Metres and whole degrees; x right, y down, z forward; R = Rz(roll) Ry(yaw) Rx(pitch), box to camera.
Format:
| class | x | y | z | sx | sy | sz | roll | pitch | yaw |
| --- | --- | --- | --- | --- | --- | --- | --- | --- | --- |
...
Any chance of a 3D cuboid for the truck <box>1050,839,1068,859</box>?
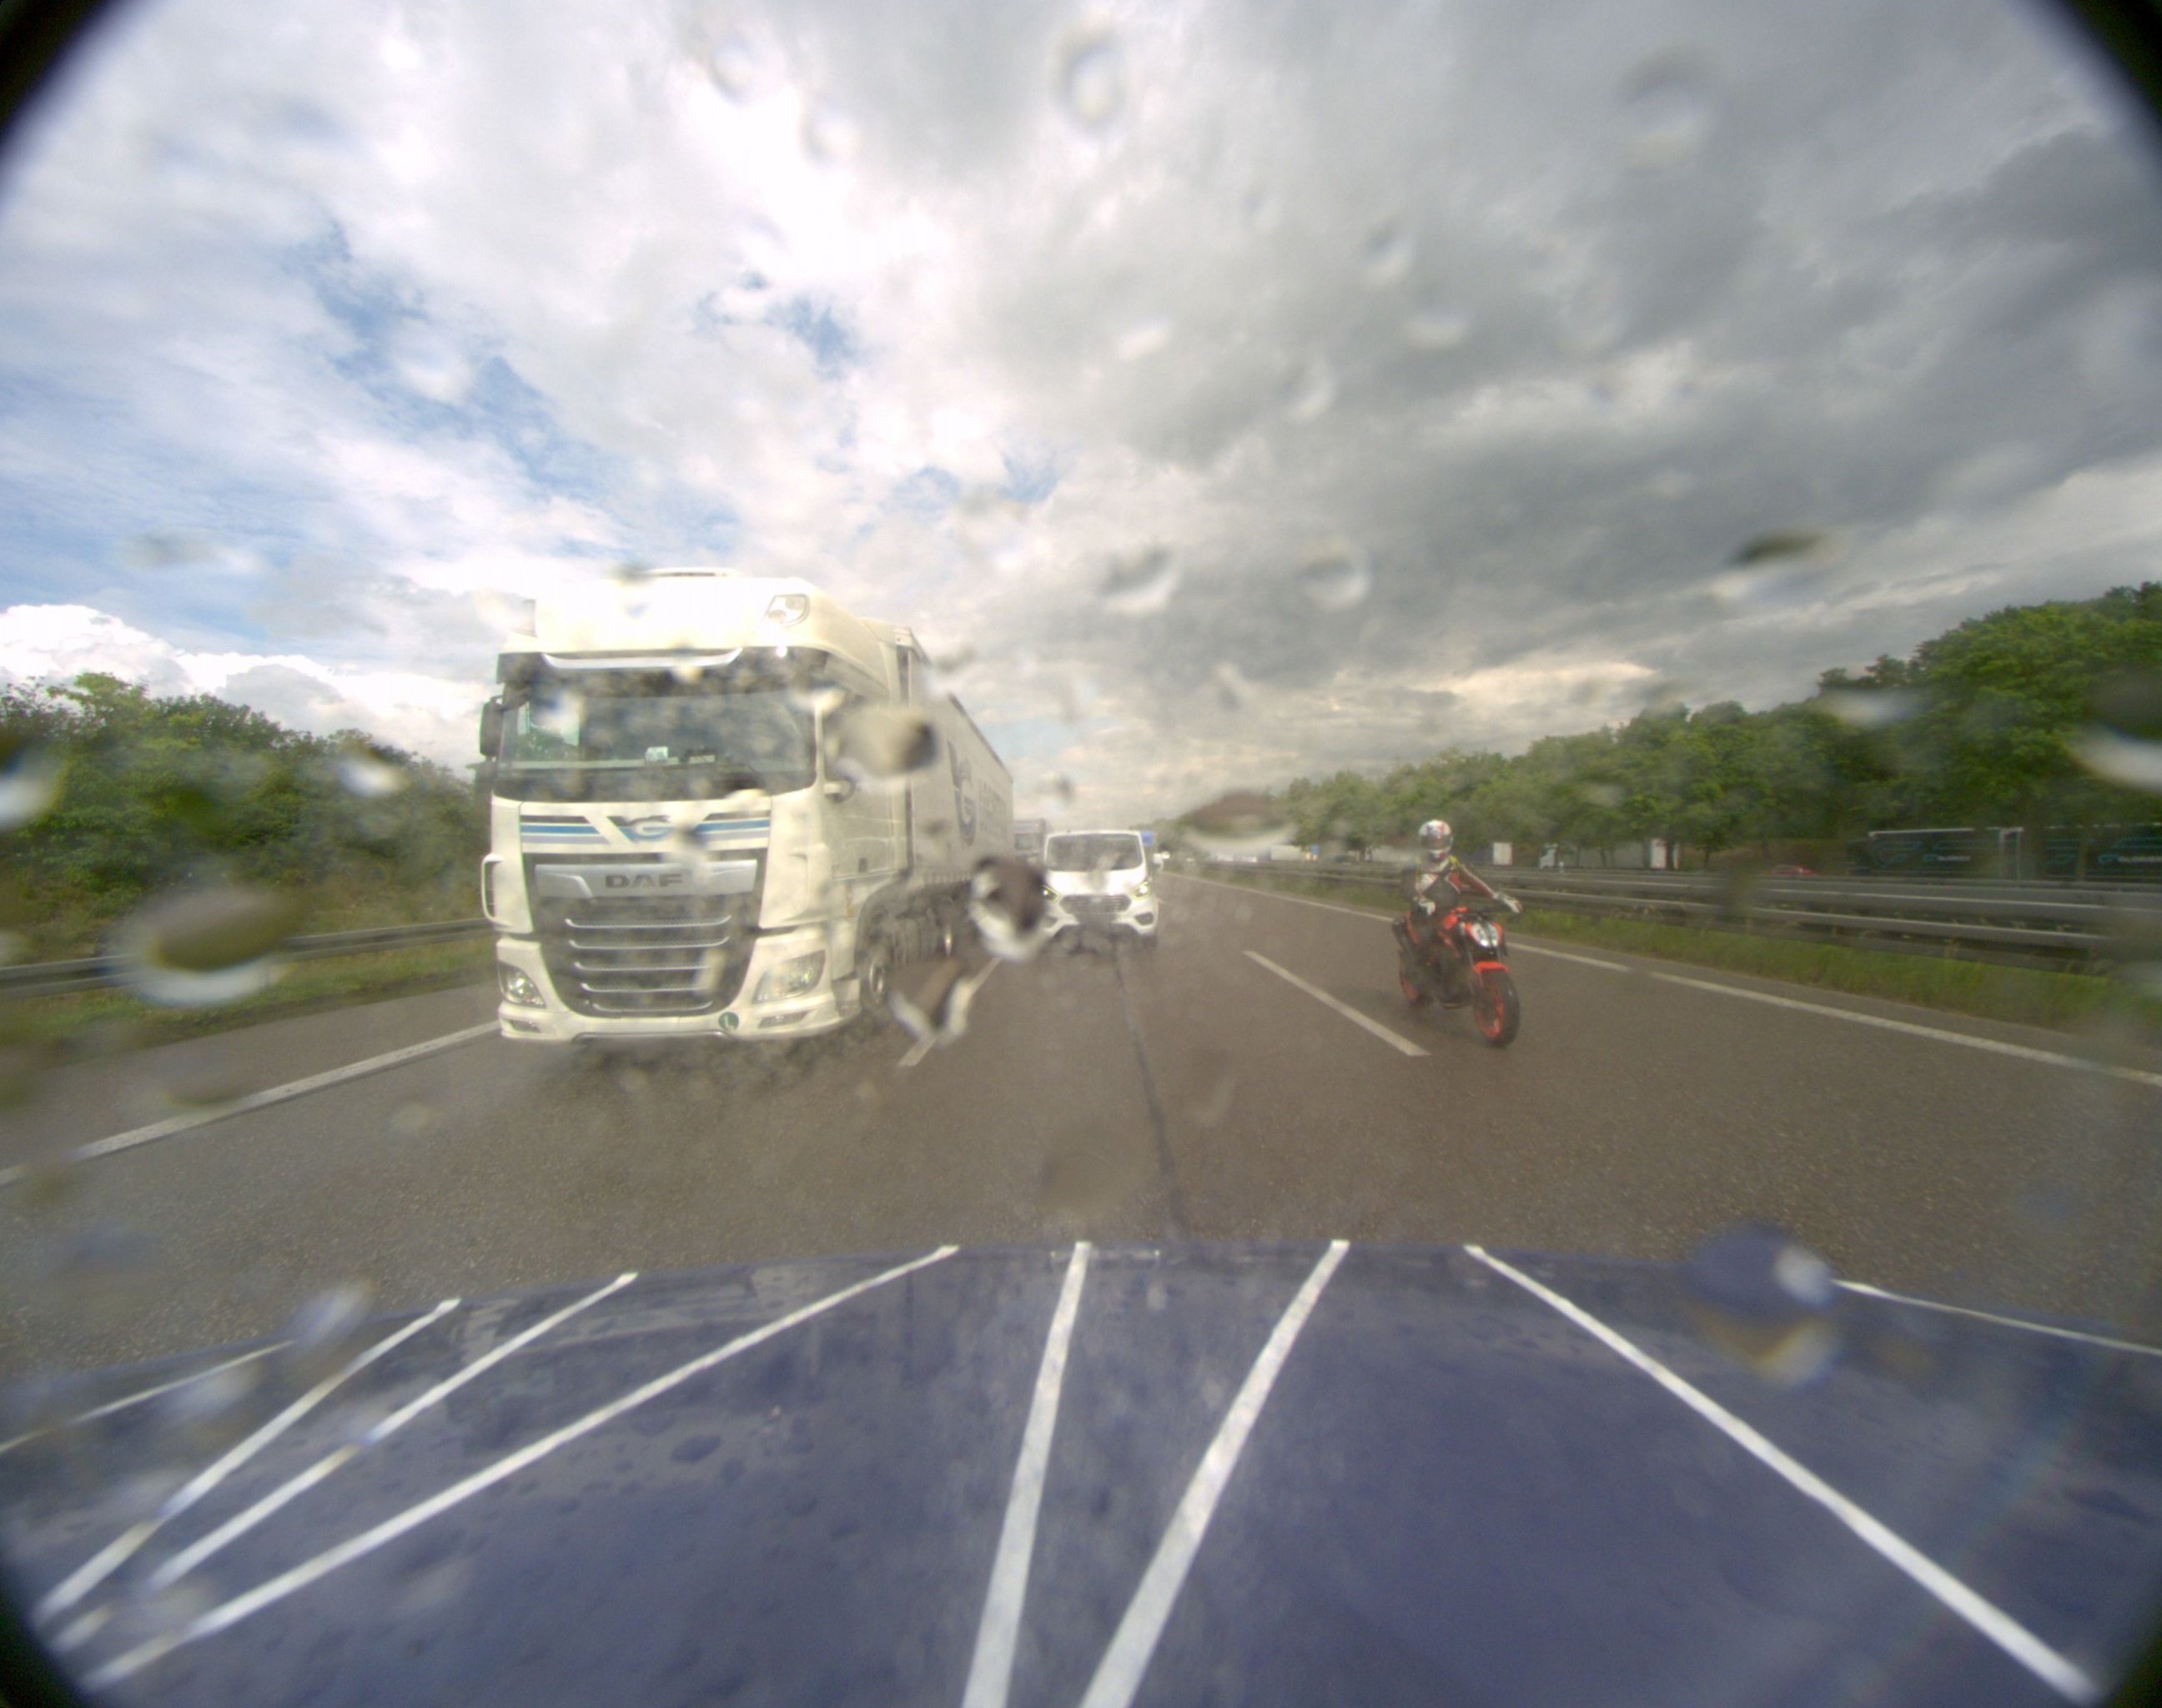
| class | x | y | z | sx | sy | sz | roll | pitch | yaw |
| --- | --- | --- | --- | --- | --- | --- | --- | --- | --- |
| truck | -4.285 | -1.002 | 149.269 | 3.218 | 3.607 | 10.152 | -2 | 1 | 0 |

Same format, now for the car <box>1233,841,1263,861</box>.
| class | x | y | z | sx | sy | sz | roll | pitch | yaw |
| --- | --- | --- | --- | --- | --- | --- | --- | --- | --- |
| car | 17.847 | -0.364 | 81.399 | 2.179 | 2.034 | 4.651 | -2 | 1 | 0 |

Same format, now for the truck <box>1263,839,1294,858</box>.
| class | x | y | z | sx | sy | sz | roll | pitch | yaw |
| --- | --- | --- | --- | --- | --- | --- | --- | --- | --- |
| truck | 41.570 | -1.146 | 159.883 | 3.219 | 3.683 | 6.907 | -2 | 1 | -14 |

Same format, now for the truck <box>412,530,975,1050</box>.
| class | x | y | z | sx | sy | sz | roll | pitch | yaw |
| --- | --- | --- | --- | --- | --- | --- | --- | --- | --- |
| truck | -3.414 | -0.503 | 9.056 | 3.293 | 3.868 | 6.395 | -2 | 0 | -1 |

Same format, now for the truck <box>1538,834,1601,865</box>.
| class | x | y | z | sx | sy | sz | roll | pitch | yaw |
| --- | --- | --- | --- | --- | --- | --- | --- | --- | --- |
| truck | 55.310 | -0.490 | 86.129 | 3.362 | 3.254 | 5.505 | -2 | 1 | -4 |

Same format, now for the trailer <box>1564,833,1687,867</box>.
| class | x | y | z | sx | sy | sz | roll | pitch | yaw |
| --- | --- | --- | --- | --- | --- | --- | --- | --- | --- |
| trailer | 55.629 | -0.400 | 78.279 | 3.356 | 3.198 | 12.471 | -1 | 0 | -2 |

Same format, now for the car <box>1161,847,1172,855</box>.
| class | x | y | z | sx | sy | sz | roll | pitch | yaw |
| --- | --- | --- | --- | --- | --- | --- | --- | --- | --- |
| car | 21.091 | -0.710 | 187.037 | 2.051 | 1.880 | 5.258 | -2 | 1 | 0 |

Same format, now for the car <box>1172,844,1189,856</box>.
| class | x | y | z | sx | sy | sz | roll | pitch | yaw |
| --- | --- | --- | --- | --- | --- | --- | --- | --- | --- |
| car | 15.932 | -0.621 | 121.438 | 1.958 | 1.880 | 5.057 | -2 | 1 | 0 |

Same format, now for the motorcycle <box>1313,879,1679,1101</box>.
| class | x | y | z | sx | sy | sz | roll | pitch | yaw |
| --- | --- | --- | --- | --- | --- | --- | --- | --- | --- |
| motorcycle | 3.138 | 0.914 | 6.423 | 1.188 | 1.219 | 3.193 | -2 | 1 | -3 |

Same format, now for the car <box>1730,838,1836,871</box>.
| class | x | y | z | sx | sy | sz | roll | pitch | yaw |
| --- | --- | --- | --- | --- | --- | --- | --- | --- | --- |
| car | 56.662 | -0.019 | 61.562 | 2.800 | 2.468 | 6.209 | -2 | 1 | 1 |

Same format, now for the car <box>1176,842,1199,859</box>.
| class | x | y | z | sx | sy | sz | roll | pitch | yaw |
| --- | --- | --- | --- | --- | --- | --- | --- | --- | --- |
| car | 13.582 | -0.504 | 97.034 | 2.179 | 2.034 | 4.651 | -2 | 1 | 0 |

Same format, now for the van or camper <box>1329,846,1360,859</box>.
| class | x | y | z | sx | sy | sz | roll | pitch | yaw |
| --- | --- | --- | --- | --- | --- | --- | --- | --- | --- |
| van or camper | 47.557 | -0.316 | 137.411 | 2.126 | 2.252 | 6.316 | -2 | 1 | -13 |

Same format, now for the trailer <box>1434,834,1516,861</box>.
| class | x | y | z | sx | sy | sz | roll | pitch | yaw |
| --- | --- | --- | --- | --- | --- | --- | --- | --- | --- |
| trailer | 53.107 | -0.826 | 103.137 | 2.832 | 3.385 | 13.417 | -1 | 0 | -7 |

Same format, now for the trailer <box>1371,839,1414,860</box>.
| class | x | y | z | sx | sy | sz | roll | pitch | yaw |
| --- | --- | --- | --- | --- | --- | --- | --- | --- | --- |
| trailer | 50.206 | -0.755 | 122.733 | 2.588 | 3.214 | 7.734 | -1 | 1 | -10 |

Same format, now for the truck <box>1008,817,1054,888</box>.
| class | x | y | z | sx | sy | sz | roll | pitch | yaw |
| --- | --- | --- | --- | --- | --- | --- | --- | --- | --- |
| truck | -3.242 | -0.158 | 49.945 | 2.650 | 4.250 | 6.882 | -2 | 1 | -3 |

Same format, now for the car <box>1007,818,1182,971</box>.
| class | x | y | z | sx | sy | sz | roll | pitch | yaw |
| --- | --- | --- | --- | --- | --- | --- | --- | --- | --- |
| car | 0.180 | 0.532 | 13.130 | 2.350 | 2.033 | 5.142 | -2 | 1 | 0 |

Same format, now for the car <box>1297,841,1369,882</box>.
| class | x | y | z | sx | sy | sz | roll | pitch | yaw |
| --- | --- | --- | --- | --- | --- | --- | --- | --- | --- |
| car | 13.544 | 0.360 | 41.189 | 2.056 | 2.034 | 5.208 | -2 | 1 | 0 |

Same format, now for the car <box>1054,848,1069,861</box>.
| class | x | y | z | sx | sy | sz | roll | pitch | yaw |
| --- | --- | --- | --- | --- | --- | --- | --- | --- | --- |
| car | -3.348 | 0.018 | 128.519 | 2.350 | 2.033 | 5.142 | -2 | 1 | 0 |

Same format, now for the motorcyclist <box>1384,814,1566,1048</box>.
| class | x | y | z | sx | sy | sz | roll | pitch | yaw |
| --- | --- | --- | --- | --- | --- | --- | --- | --- | --- |
| motorcyclist | 3.120 | 0.563 | 6.119 | 0.883 | 1.696 | 1.000 | -2 | 1 | -2 |

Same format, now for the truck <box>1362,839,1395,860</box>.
| class | x | y | z | sx | sy | sz | roll | pitch | yaw |
| --- | --- | --- | --- | --- | --- | --- | --- | --- | --- |
| truck | 49.468 | -0.759 | 126.470 | 2.663 | 3.249 | 5.081 | -2 | 1 | -10 |

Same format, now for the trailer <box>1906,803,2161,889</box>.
| class | x | y | z | sx | sy | sz | roll | pitch | yaw |
| --- | --- | --- | --- | --- | --- | --- | --- | --- | --- |
| trailer | 56.958 | -0.453 | 43.920 | 3.798 | 4.380 | 13.801 | -1 | 0 | 1 |

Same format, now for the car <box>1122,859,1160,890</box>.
| class | x | y | z | sx | sy | sz | roll | pitch | yaw |
| --- | --- | --- | --- | --- | --- | --- | --- | --- | --- |
| car | 4.370 | 1.493 | 56.490 | 2.350 | 2.033 | 5.142 | -2 | 1 | 0 |

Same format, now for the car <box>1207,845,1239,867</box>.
| class | x | y | z | sx | sy | sz | roll | pitch | yaw |
| --- | --- | --- | --- | --- | --- | --- | --- | --- | --- |
| car | 13.828 | 0.161 | 74.459 | 2.056 | 2.034 | 5.208 | -2 | 1 | 0 |

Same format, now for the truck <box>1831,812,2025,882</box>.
| class | x | y | z | sx | sy | sz | roll | pitch | yaw |
| --- | --- | --- | --- | --- | --- | --- | --- | --- | --- |
| truck | 57.030 | -0.479 | 51.614 | 3.797 | 4.210 | 8.416 | -2 | 1 | 1 |

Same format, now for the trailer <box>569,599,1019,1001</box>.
| class | x | y | z | sx | sy | sz | roll | pitch | yaw |
| --- | --- | --- | --- | --- | --- | --- | --- | --- | --- |
| trailer | -3.426 | -0.565 | 14.662 | 3.292 | 3.876 | 14.126 | -2 | 0 | -1 |

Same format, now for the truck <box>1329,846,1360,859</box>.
| class | x | y | z | sx | sy | sz | roll | pitch | yaw |
| --- | --- | --- | --- | --- | --- | --- | --- | --- | --- |
| truck | 47.567 | -0.317 | 137.408 | 2.126 | 2.252 | 6.311 | -2 | 1 | -13 |

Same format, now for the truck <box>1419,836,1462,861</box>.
| class | x | y | z | sx | sy | sz | roll | pitch | yaw |
| --- | --- | --- | --- | --- | --- | --- | --- | --- | --- |
| truck | 52.213 | -0.838 | 110.569 | 2.869 | 3.436 | 5.892 | -2 | 1 | -7 |

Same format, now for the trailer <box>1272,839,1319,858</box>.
| class | x | y | z | sx | sy | sz | roll | pitch | yaw |
| --- | --- | --- | --- | --- | --- | --- | --- | --- | --- |
| trailer | 43.201 | -1.115 | 153.507 | 3.216 | 3.717 | 12.553 | -1 | 0 | -14 |
